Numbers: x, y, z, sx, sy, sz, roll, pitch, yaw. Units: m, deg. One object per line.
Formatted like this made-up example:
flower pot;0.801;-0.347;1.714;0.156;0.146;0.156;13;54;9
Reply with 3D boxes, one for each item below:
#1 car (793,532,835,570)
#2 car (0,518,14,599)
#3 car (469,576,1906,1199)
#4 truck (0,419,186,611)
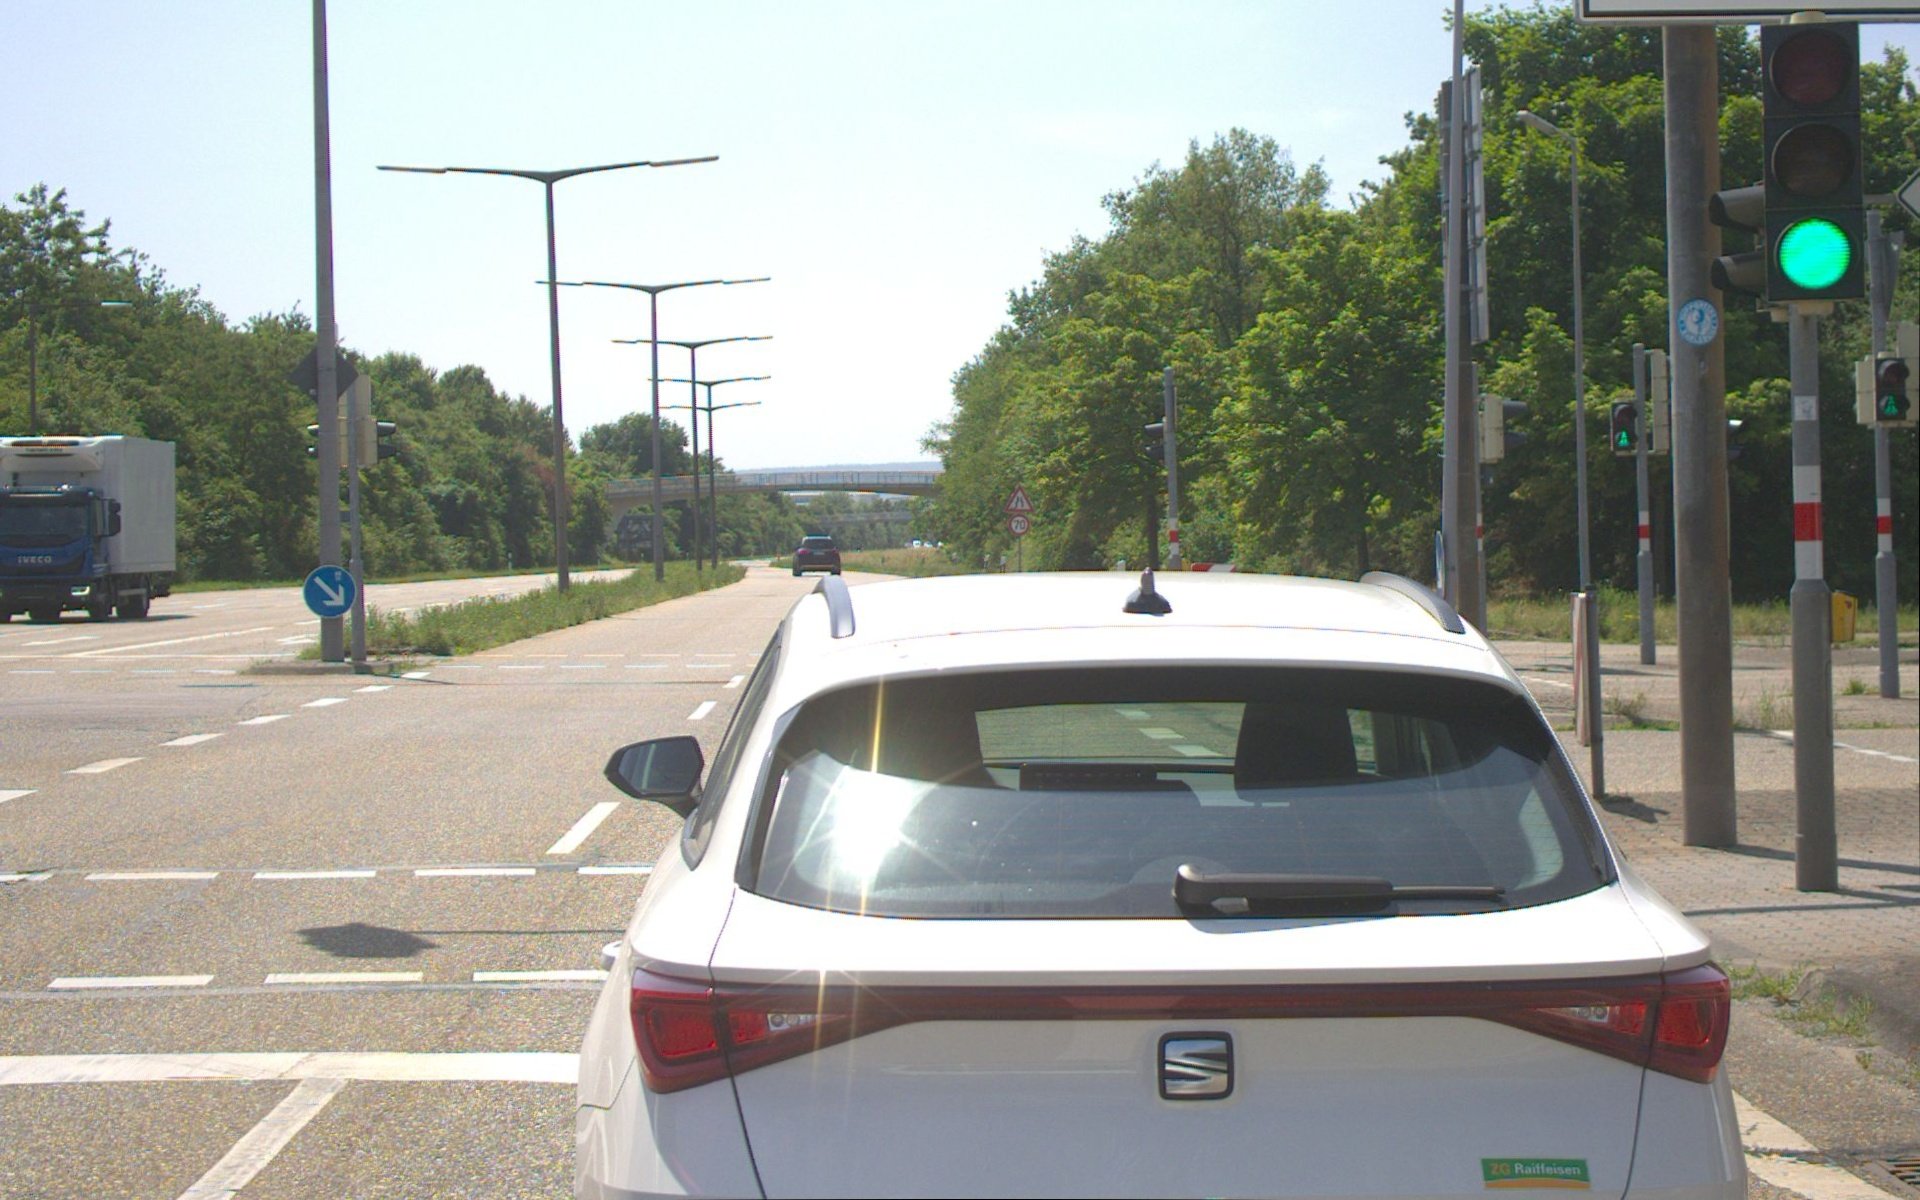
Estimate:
car;-6.675;-2.245;157.136;1.855;1.703;4.001;-1;1;-2
car;-21.361;-0.840;71.917;1.822;1.726;4.926;-1;1;-1
car;0.248;0.685;6.018;1.734;1.423;3.695;1;0;-1
truck;-17.366;-1.668;67.751;2.687;3.558;7.268;0;1;-1
